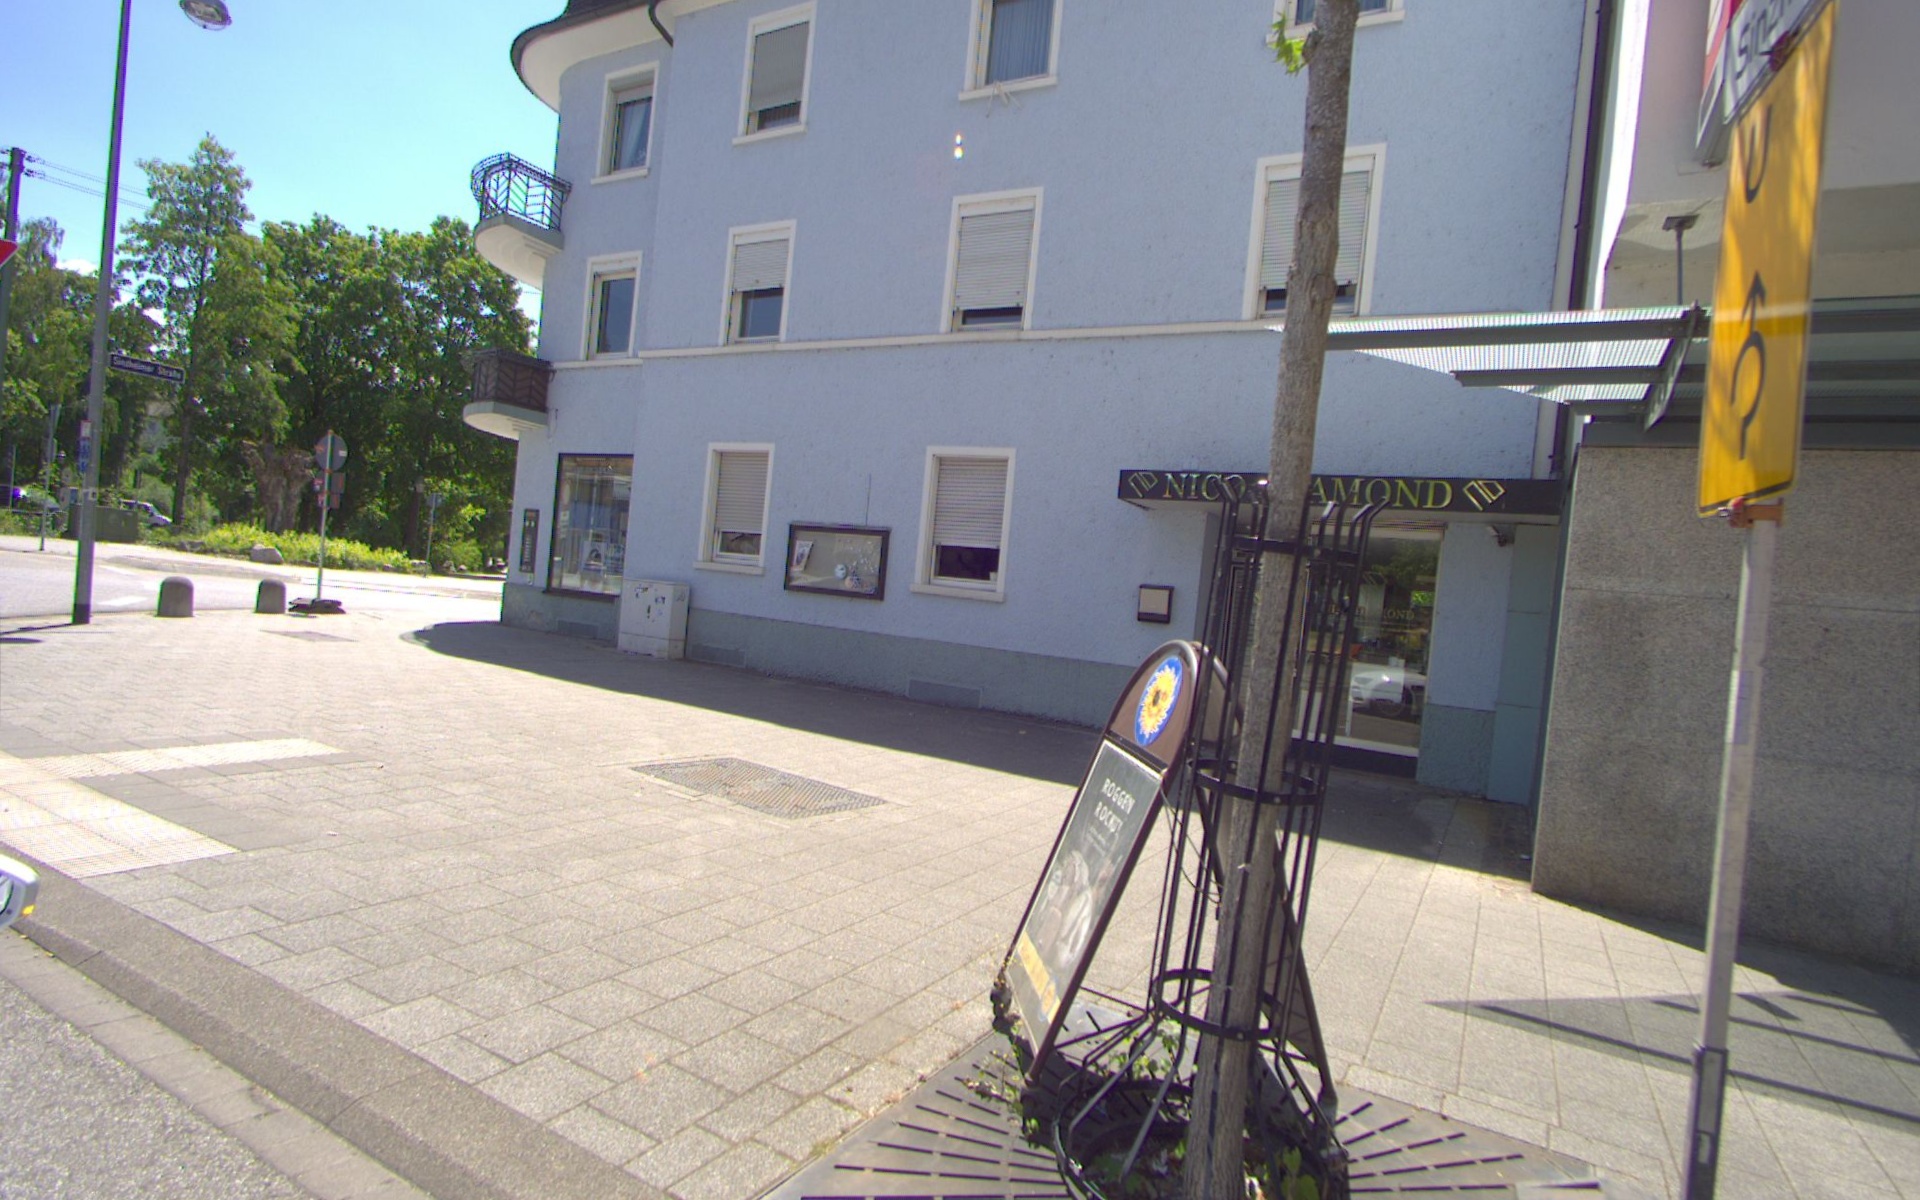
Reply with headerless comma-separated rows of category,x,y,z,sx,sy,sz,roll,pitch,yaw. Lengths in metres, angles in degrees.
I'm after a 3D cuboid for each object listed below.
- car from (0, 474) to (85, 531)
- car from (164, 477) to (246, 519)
car,-39.985,-4.217,42.492,3.933,2.039,1.996,6,1,-11
car,-48.282,-6.476,64.404,3.961,2.039,1.981,6,1,-35
